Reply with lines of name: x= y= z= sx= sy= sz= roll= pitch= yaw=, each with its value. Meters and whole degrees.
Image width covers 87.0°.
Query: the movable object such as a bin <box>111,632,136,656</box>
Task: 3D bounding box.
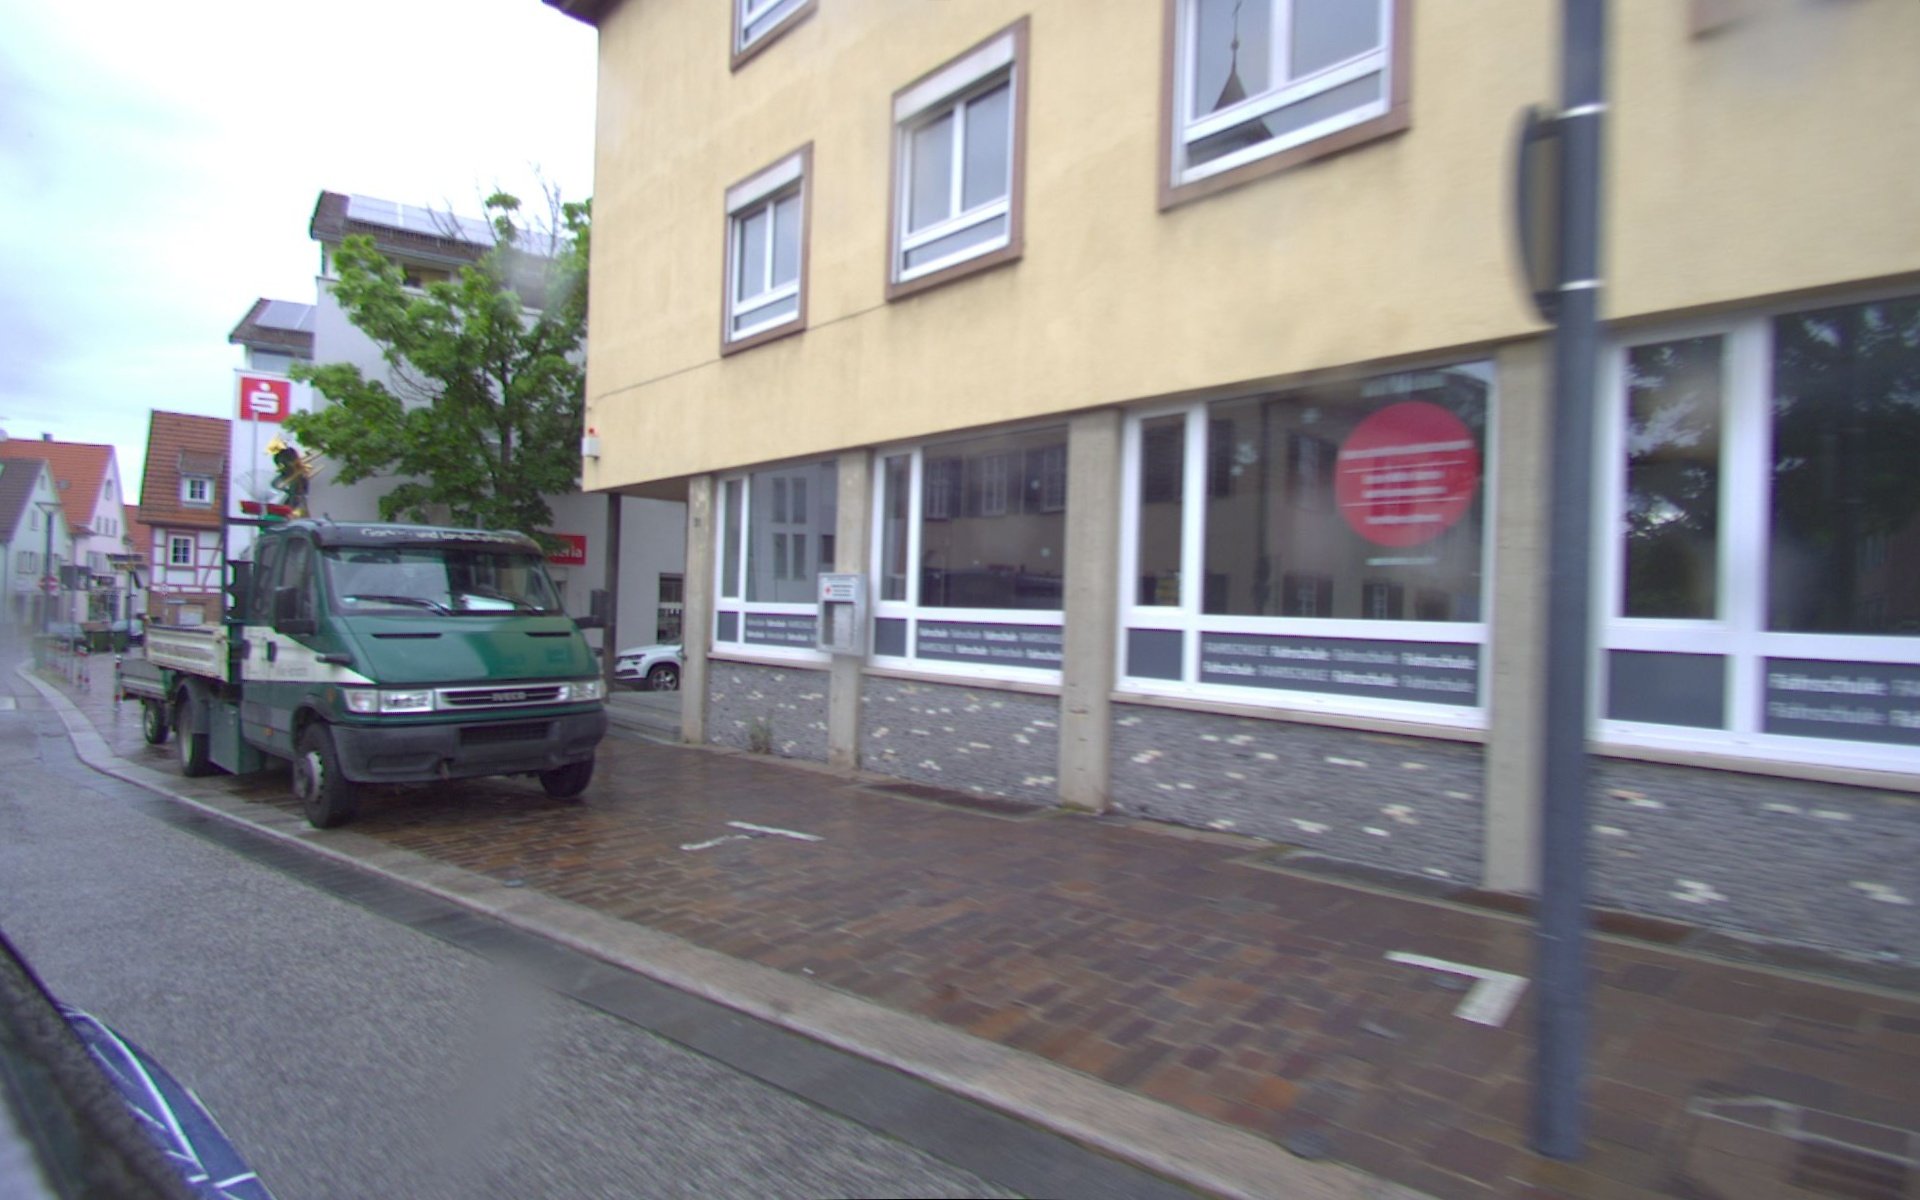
movable object such as a bin: x=-40.172 y=2.117 z=48.610 sx=0.822 sy=1.120 sz=0.921 roll=3 pitch=-3 yaw=-38

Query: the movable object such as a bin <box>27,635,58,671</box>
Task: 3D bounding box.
movable object such as a bin: x=-29.073 y=1.689 z=32.063 sx=0.650 sy=1.123 sz=0.553 roll=3 pitch=-3 yaw=-40

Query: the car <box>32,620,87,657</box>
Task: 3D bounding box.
car: x=-39.191 y=1.643 z=43.999 sx=1.669 sy=1.497 sz=4.004 roll=2 pitch=-2 yaw=-43

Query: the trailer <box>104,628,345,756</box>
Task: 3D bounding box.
trailer: x=-9.083 y=1.053 z=12.443 sx=3.159 sy=1.357 sz=1.710 roll=-2 pitch=-4 yaw=41

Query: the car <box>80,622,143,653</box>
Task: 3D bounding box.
car: x=-45.812 y=1.985 z=54.706 sx=1.966 sy=1.541 sz=4.012 roll=-1 pitch=-1 yaw=-30

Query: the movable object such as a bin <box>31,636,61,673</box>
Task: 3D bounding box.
movable object such as a bin: x=-28.365 y=1.694 z=31.413 sx=0.650 sy=1.104 sz=0.614 roll=3 pitch=-3 yaw=-41

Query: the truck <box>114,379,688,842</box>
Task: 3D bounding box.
truck: x=-5.450 y=0.189 z=9.259 sx=6.596 sy=2.816 sz=2.447 roll=-2 pitch=-4 yaw=41

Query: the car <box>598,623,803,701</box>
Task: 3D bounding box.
car: x=-5.700 y=1.362 z=22.365 sx=3.932 sy=1.576 sz=1.971 roll=3 pitch=-3 yaw=-32
